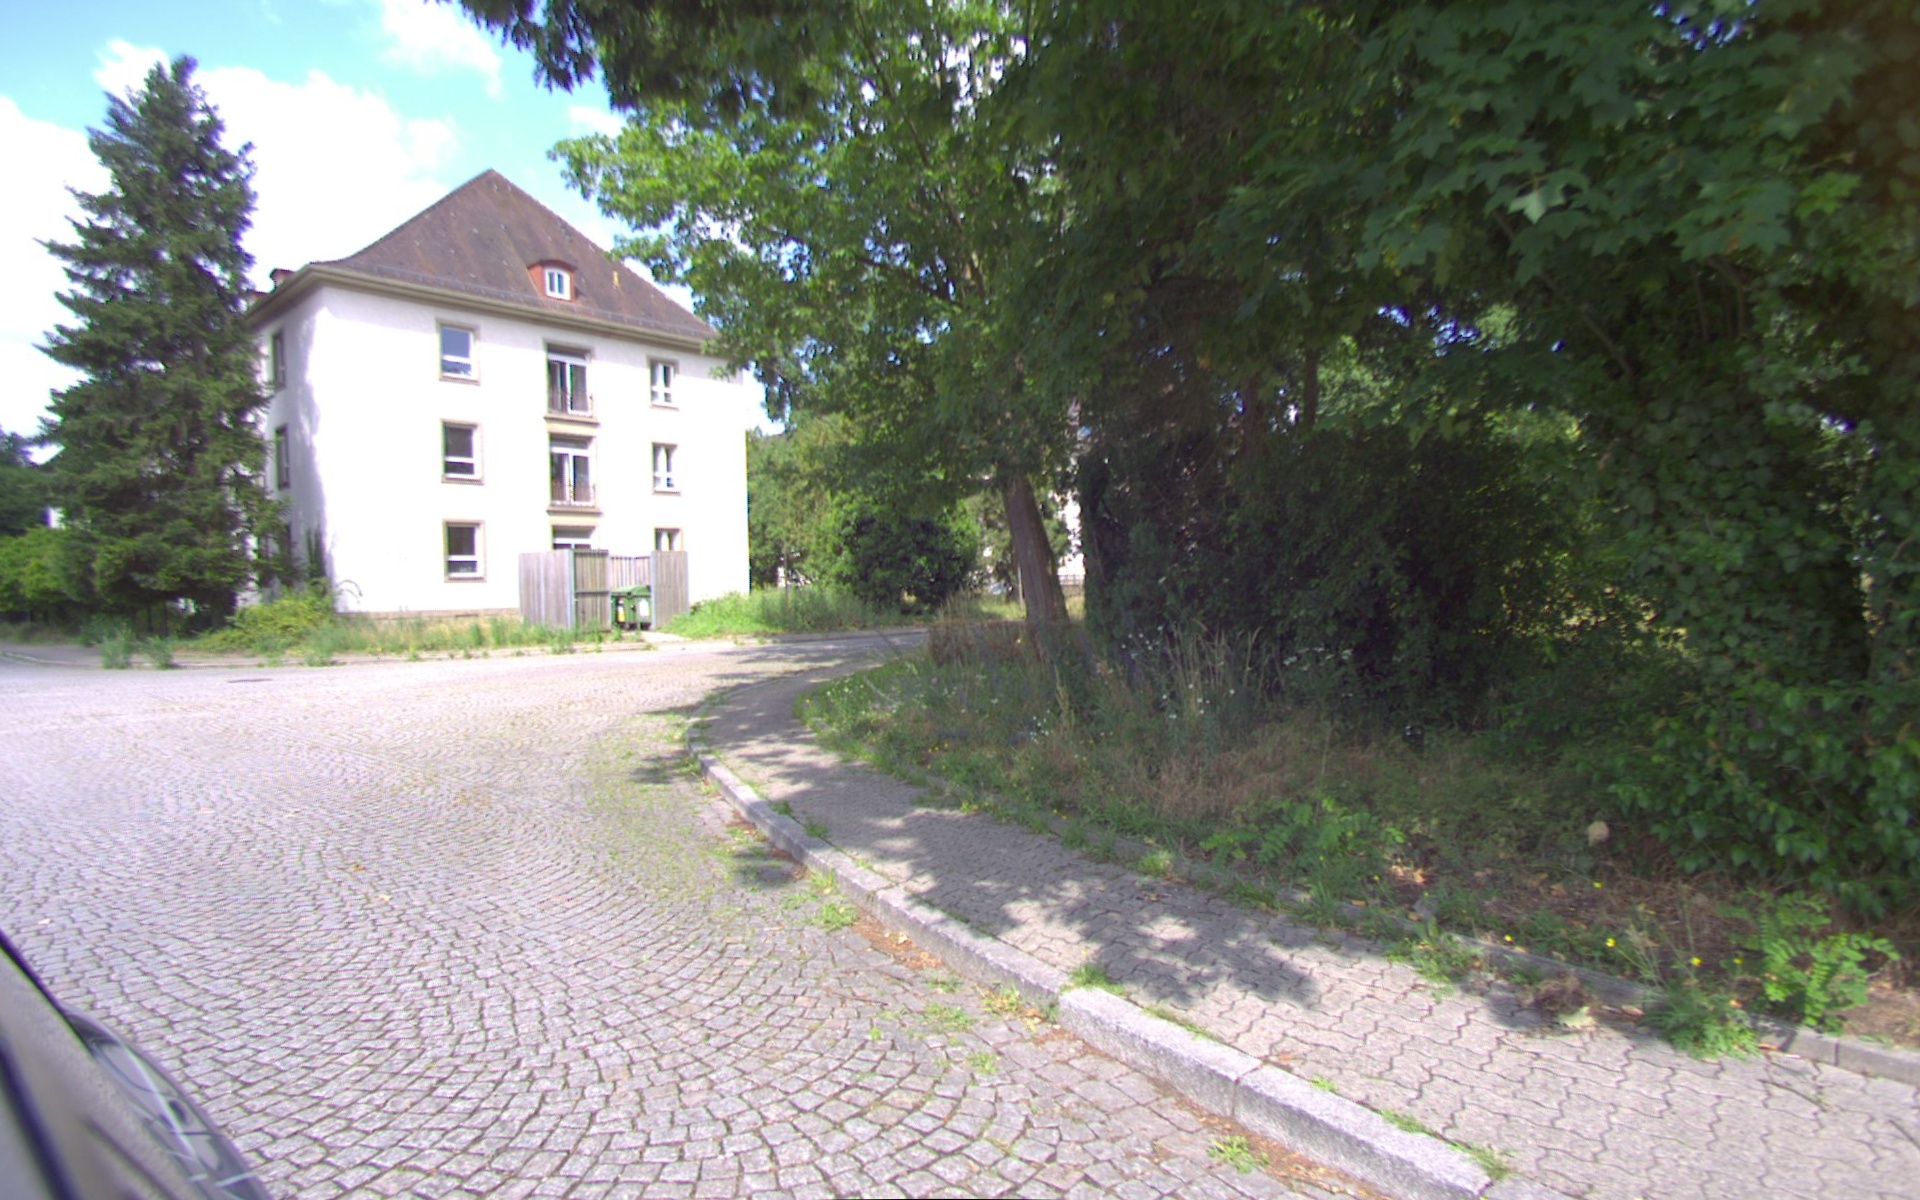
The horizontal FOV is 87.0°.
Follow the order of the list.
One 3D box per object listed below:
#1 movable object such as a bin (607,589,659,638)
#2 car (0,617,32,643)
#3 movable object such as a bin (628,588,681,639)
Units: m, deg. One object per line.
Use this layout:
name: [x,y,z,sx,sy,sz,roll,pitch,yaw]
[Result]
movable object such as a bin: [-10.619,0.413,32.843,1.152,1.542,1.158,-1,0,39]
car: [-62.061,1.952,64.565,1.766,1.655,4.031,-1,0,41]
movable object such as a bin: [-9.693,0.416,32.089,1.152,1.542,1.158,-1,0,39]
